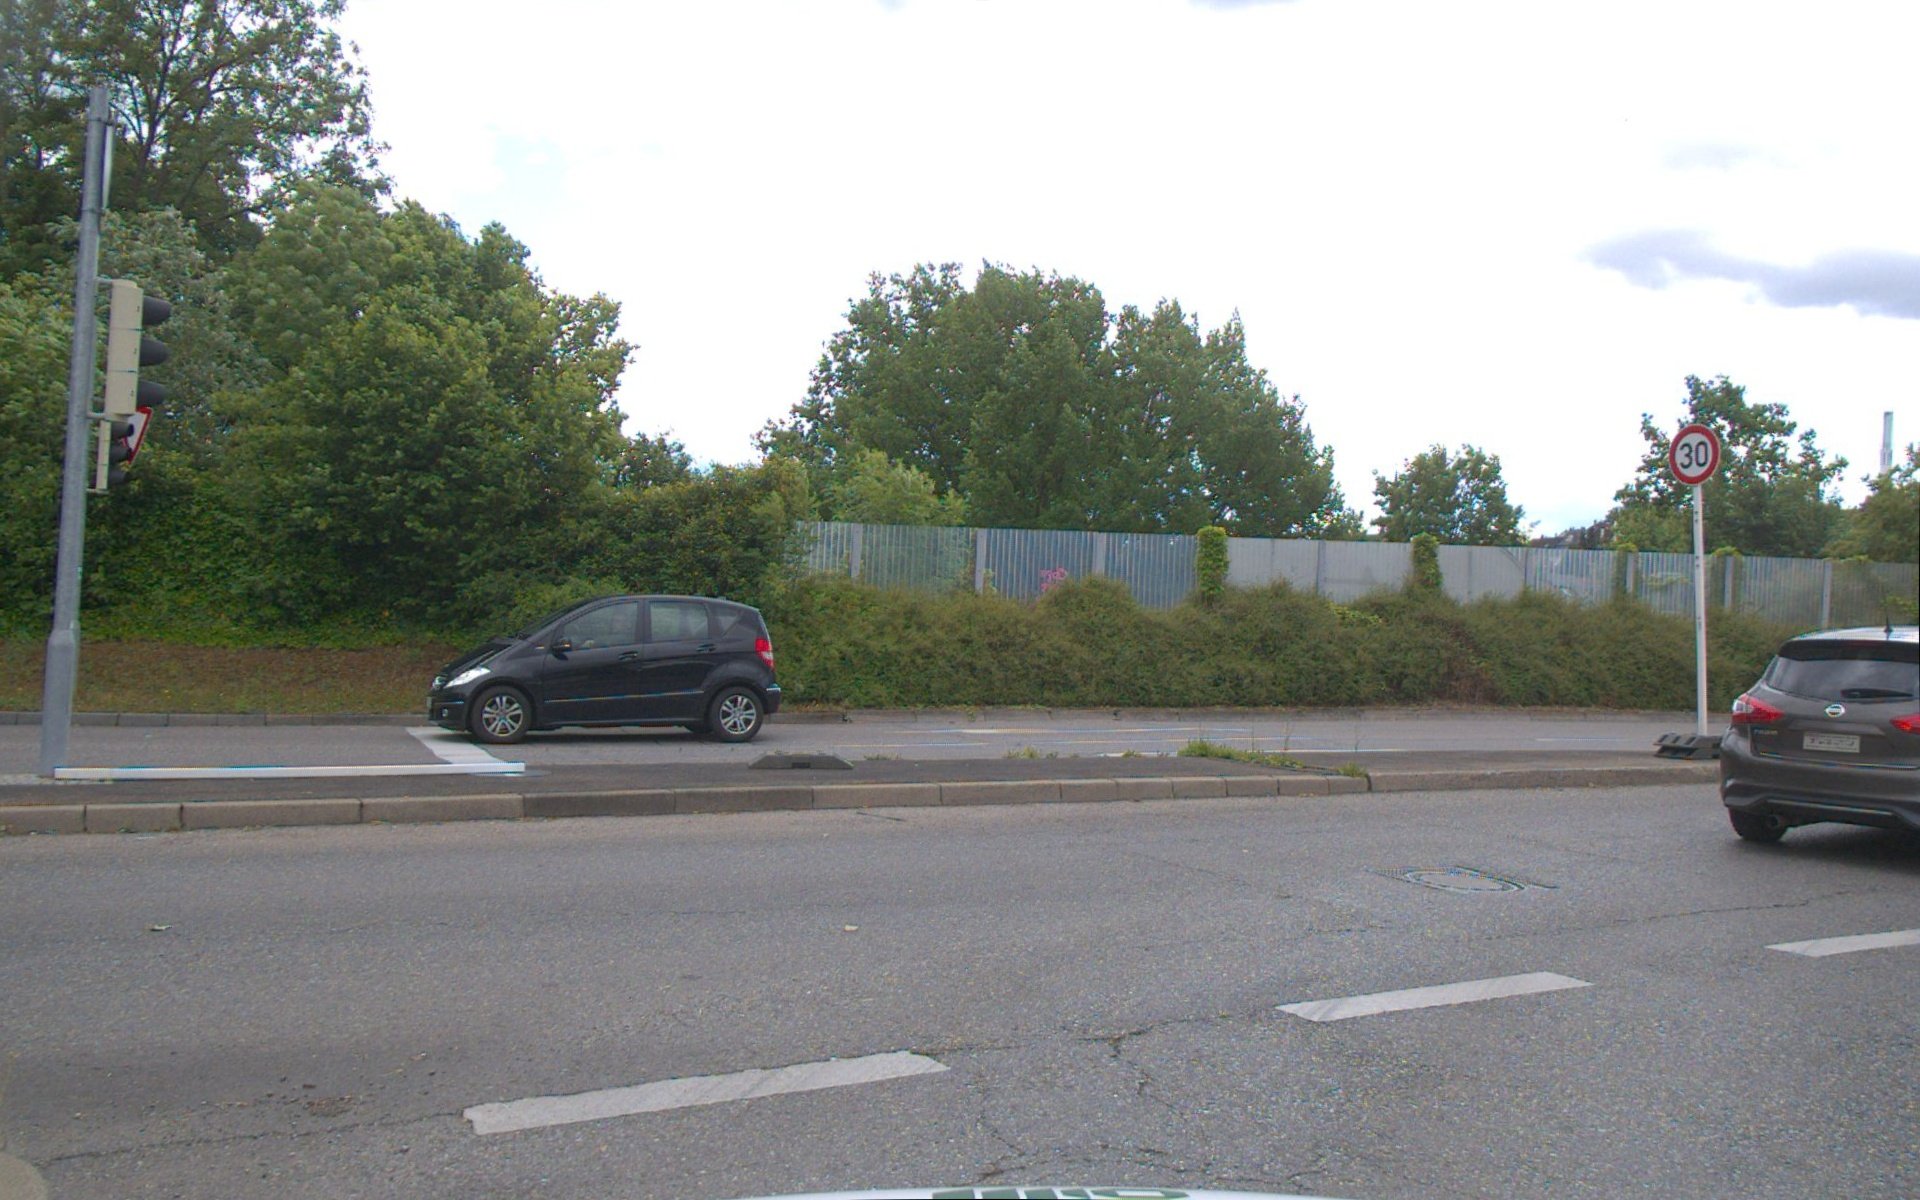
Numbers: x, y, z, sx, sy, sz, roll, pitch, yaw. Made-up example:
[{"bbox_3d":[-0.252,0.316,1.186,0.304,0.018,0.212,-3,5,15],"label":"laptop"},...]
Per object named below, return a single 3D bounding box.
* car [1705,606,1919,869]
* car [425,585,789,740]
[{"bbox_3d":[7.073,0.879,11.709,3.963,1.579,1.777,1,0,-41],"label":"car"},{"bbox_3d":[-3.914,0.696,18.347,3.724,1.579,1.632,1,-2,-23],"label":"car"}]
